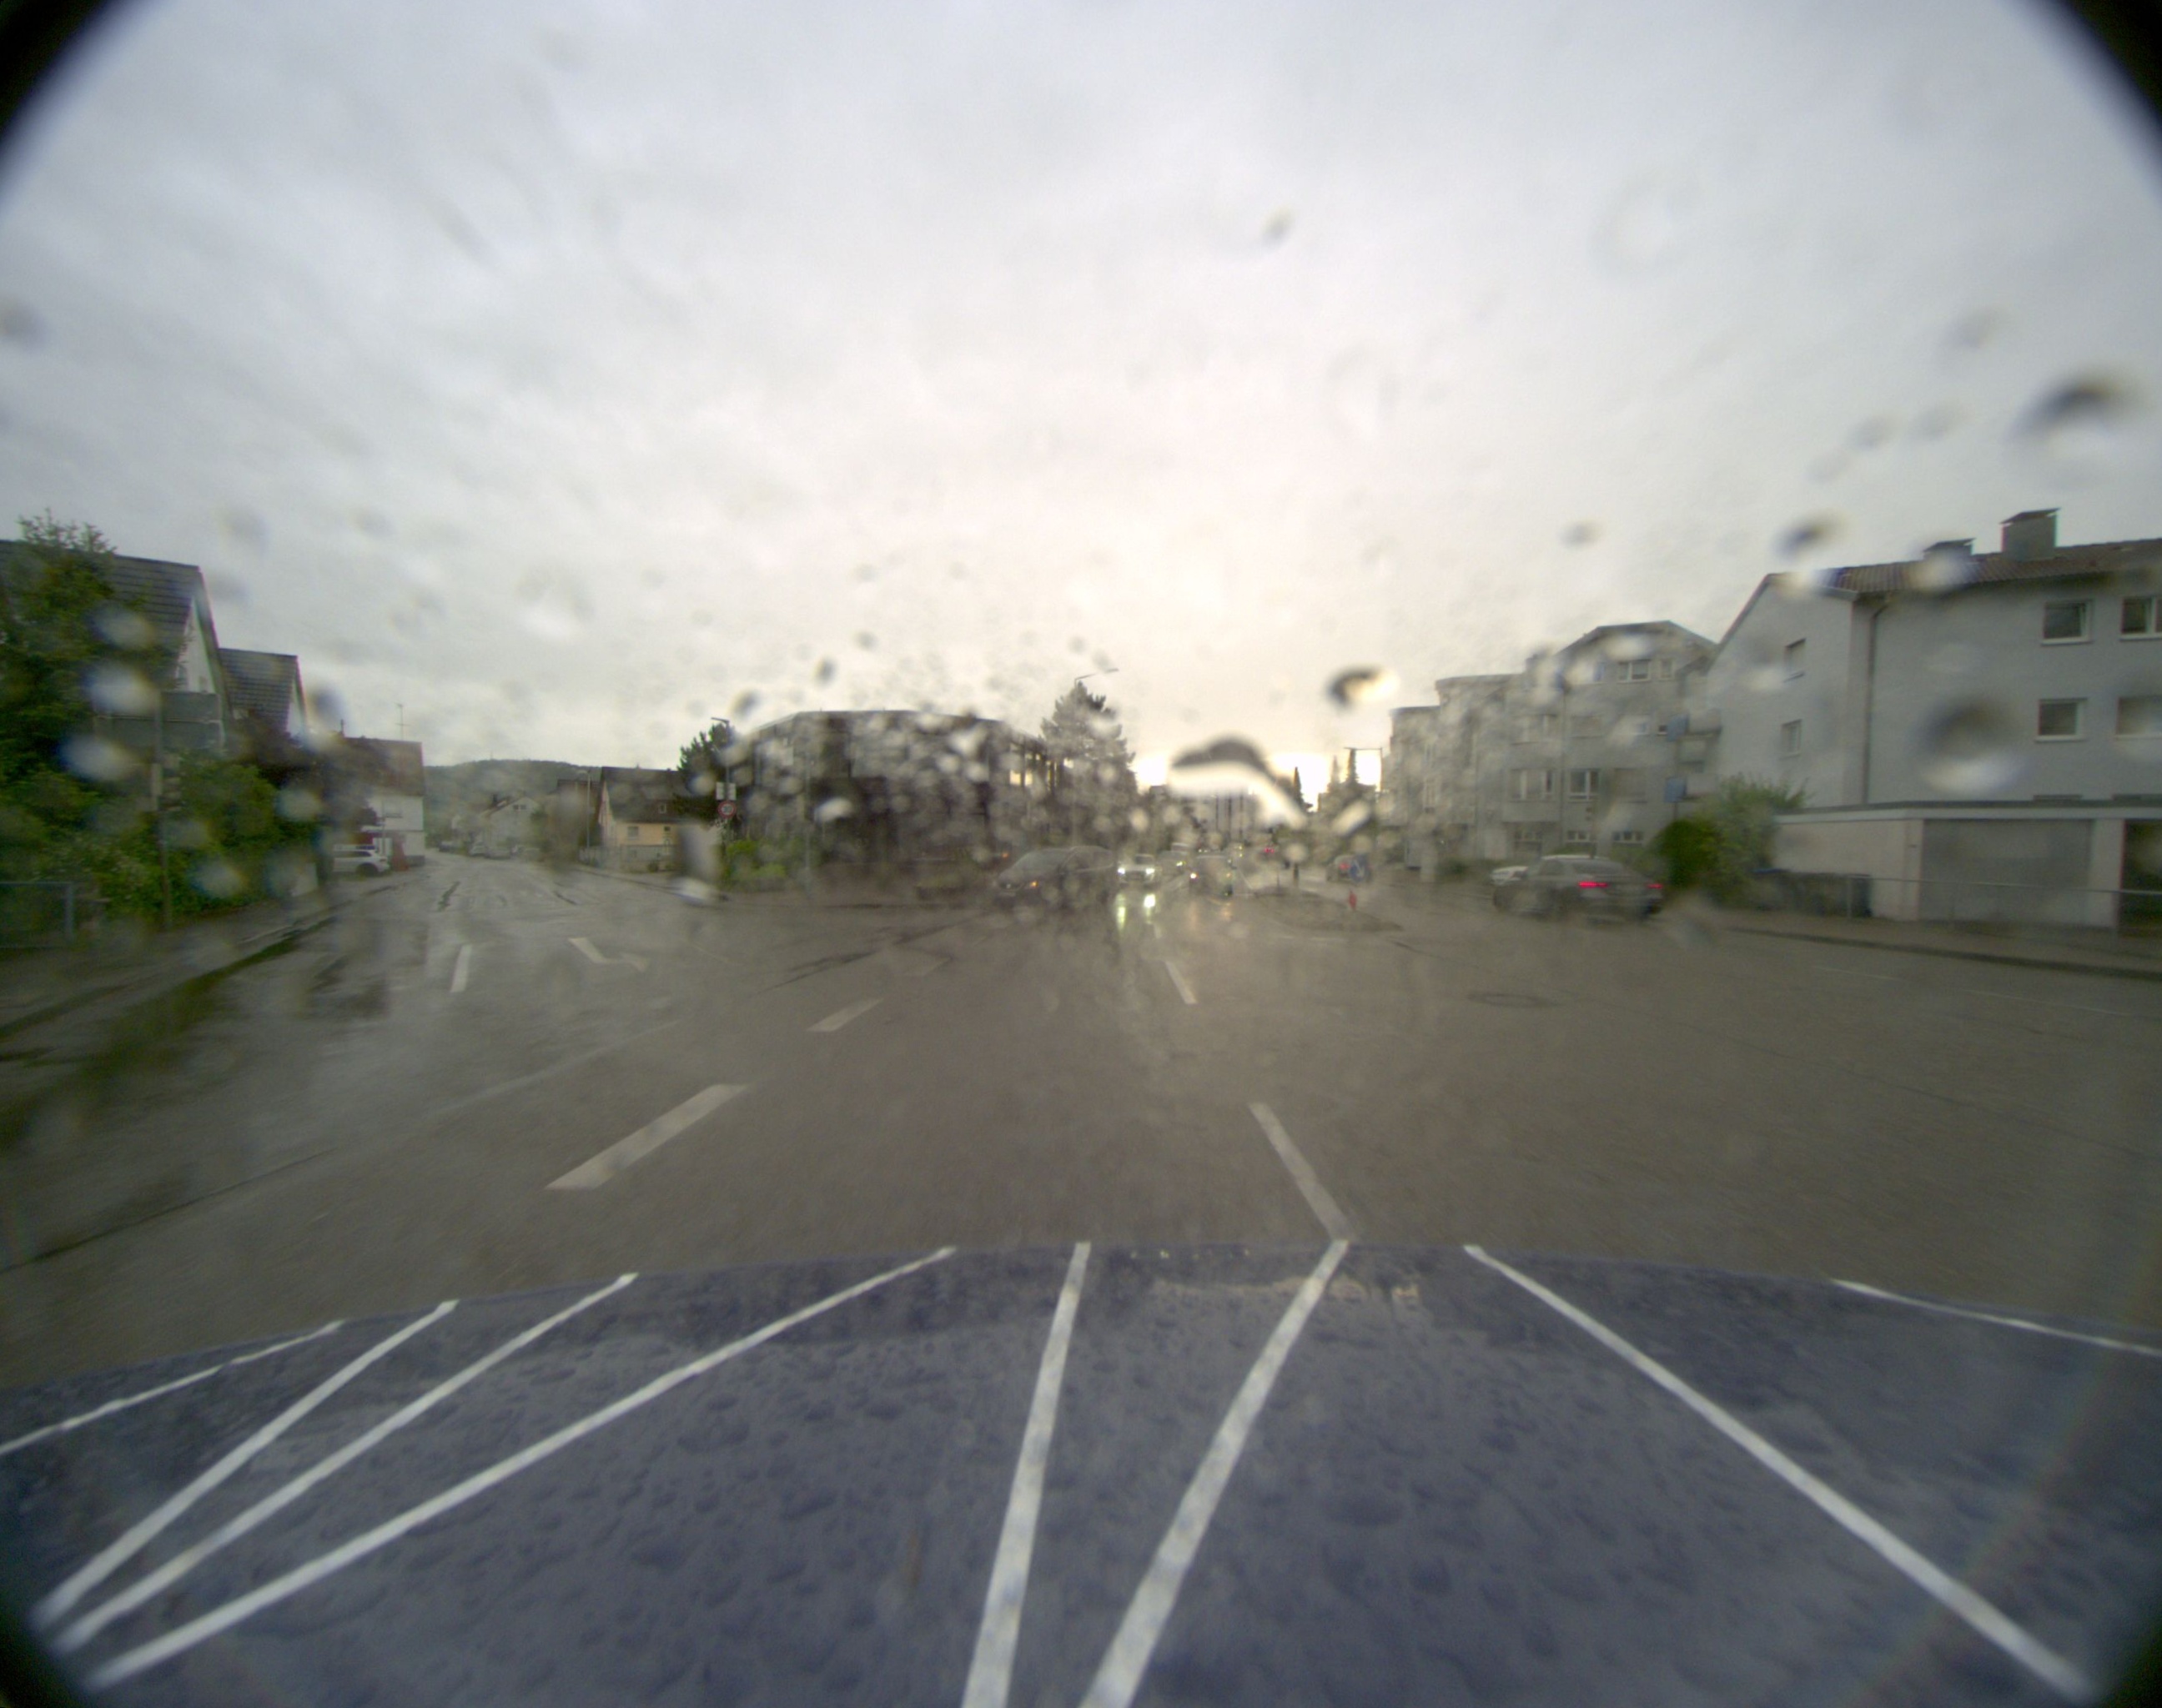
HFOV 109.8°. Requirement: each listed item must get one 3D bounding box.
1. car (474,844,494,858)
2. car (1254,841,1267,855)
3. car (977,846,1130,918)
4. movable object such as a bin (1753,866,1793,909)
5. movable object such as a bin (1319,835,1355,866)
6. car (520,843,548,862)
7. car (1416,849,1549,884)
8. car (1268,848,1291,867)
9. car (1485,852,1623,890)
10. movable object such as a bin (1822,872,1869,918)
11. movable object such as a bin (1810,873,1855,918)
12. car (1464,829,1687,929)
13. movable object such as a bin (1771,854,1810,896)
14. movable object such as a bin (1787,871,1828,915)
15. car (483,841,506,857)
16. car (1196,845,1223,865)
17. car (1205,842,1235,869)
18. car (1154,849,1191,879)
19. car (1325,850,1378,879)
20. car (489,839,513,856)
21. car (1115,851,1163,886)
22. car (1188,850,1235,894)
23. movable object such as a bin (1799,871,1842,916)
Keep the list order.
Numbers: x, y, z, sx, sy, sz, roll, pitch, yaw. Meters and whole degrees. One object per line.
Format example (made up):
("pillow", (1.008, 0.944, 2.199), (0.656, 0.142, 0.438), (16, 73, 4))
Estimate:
("car", (-87.407, -0.429, 111.173), (2.004, 2.002, 3.988), (-1, 1, -42))
("car", (27.749, -0.919, 117.515), (1.996, 2.002, 4.004), (0, 1, 13))
("car", (-0.610, 0.658, 21.075), (1.994, 1.739, 4.657), (0, 1, 31))
("movable object such as a bin", (17.523, 0.852, 19.255), (0.499, 1.013, 0.688), (-4, 1, 21))
("movable object such as a bin", (24.459, -0.330, 72.544), (2.920, 2.825, 2.200), (0, 1, 26))
("car", (-57.341, -0.172, 79.652), (2.004, 2.002, 3.988), (-1, 1, -41))
("car", (19.905, 0.591, 37.933), (5.470, 1.674, 2.150), (0, 1, 12))
("car", (20.053, 0.353, 76.770), (2.100, 1.822, 4.738), (0, 1, 13))
("car", (20.025, 0.676, 32.400), (4.617, 1.488, 1.932), (0, 1, 17))
("movable object such as a bin", (16.489, 0.871, 16.407), (0.499, 0.955, 0.602), (0, 1, 21))
("movable object such as a bin", (16.782, 0.921, 16.979), (0.499, 0.955, 0.535), (-4, 1, 21))
("car", (11.771, 0.499, 18.797), (2.094, 2.002, 5.982), (2, 0, 6))
("movable object such as a bin", (17.326, 0.510, 18.567), (0.499, 0.955, 0.535), (-4, 1, 21))
("movable object such as a bin", (17.182, 0.918, 17.978), (0.499, 0.955, 0.535), (-4, 1, 21))
("car", (-76.801, -0.677, 99.460), (2.004, 2.002, 3.988), (-1, 1, -42))
("car", (12.796, 0.066, 75.659), (1.995, 1.849, 4.005), (2, 1, 19))
("car", (10.958, 0.096, 59.778), (1.996, 2.002, 4.004), (0, 1, 14))
("car", (6.009, 0.612, 50.370), (1.998, 1.849, 4.000), (2, 1, 2))
("car", (14.531, 0.535, 41.024), (1.791, 1.464, 4.165), (0, 1, 6))
("car", (-72.055, -0.794, 94.423), (2.004, 2.002, 3.988), (-1, 1, -42))
("car", (2.658, 0.588, 34.063), (1.828, 1.431, 4.347), (0, 1, 8))
("car", (5.002, 0.645, 29.167), (1.650, 1.547, 3.353), (0, 1, 10))
("movable object such as a bin", (17.001, 0.908, 17.481), (0.499, 0.955, 0.535), (-4, 1, 21))
